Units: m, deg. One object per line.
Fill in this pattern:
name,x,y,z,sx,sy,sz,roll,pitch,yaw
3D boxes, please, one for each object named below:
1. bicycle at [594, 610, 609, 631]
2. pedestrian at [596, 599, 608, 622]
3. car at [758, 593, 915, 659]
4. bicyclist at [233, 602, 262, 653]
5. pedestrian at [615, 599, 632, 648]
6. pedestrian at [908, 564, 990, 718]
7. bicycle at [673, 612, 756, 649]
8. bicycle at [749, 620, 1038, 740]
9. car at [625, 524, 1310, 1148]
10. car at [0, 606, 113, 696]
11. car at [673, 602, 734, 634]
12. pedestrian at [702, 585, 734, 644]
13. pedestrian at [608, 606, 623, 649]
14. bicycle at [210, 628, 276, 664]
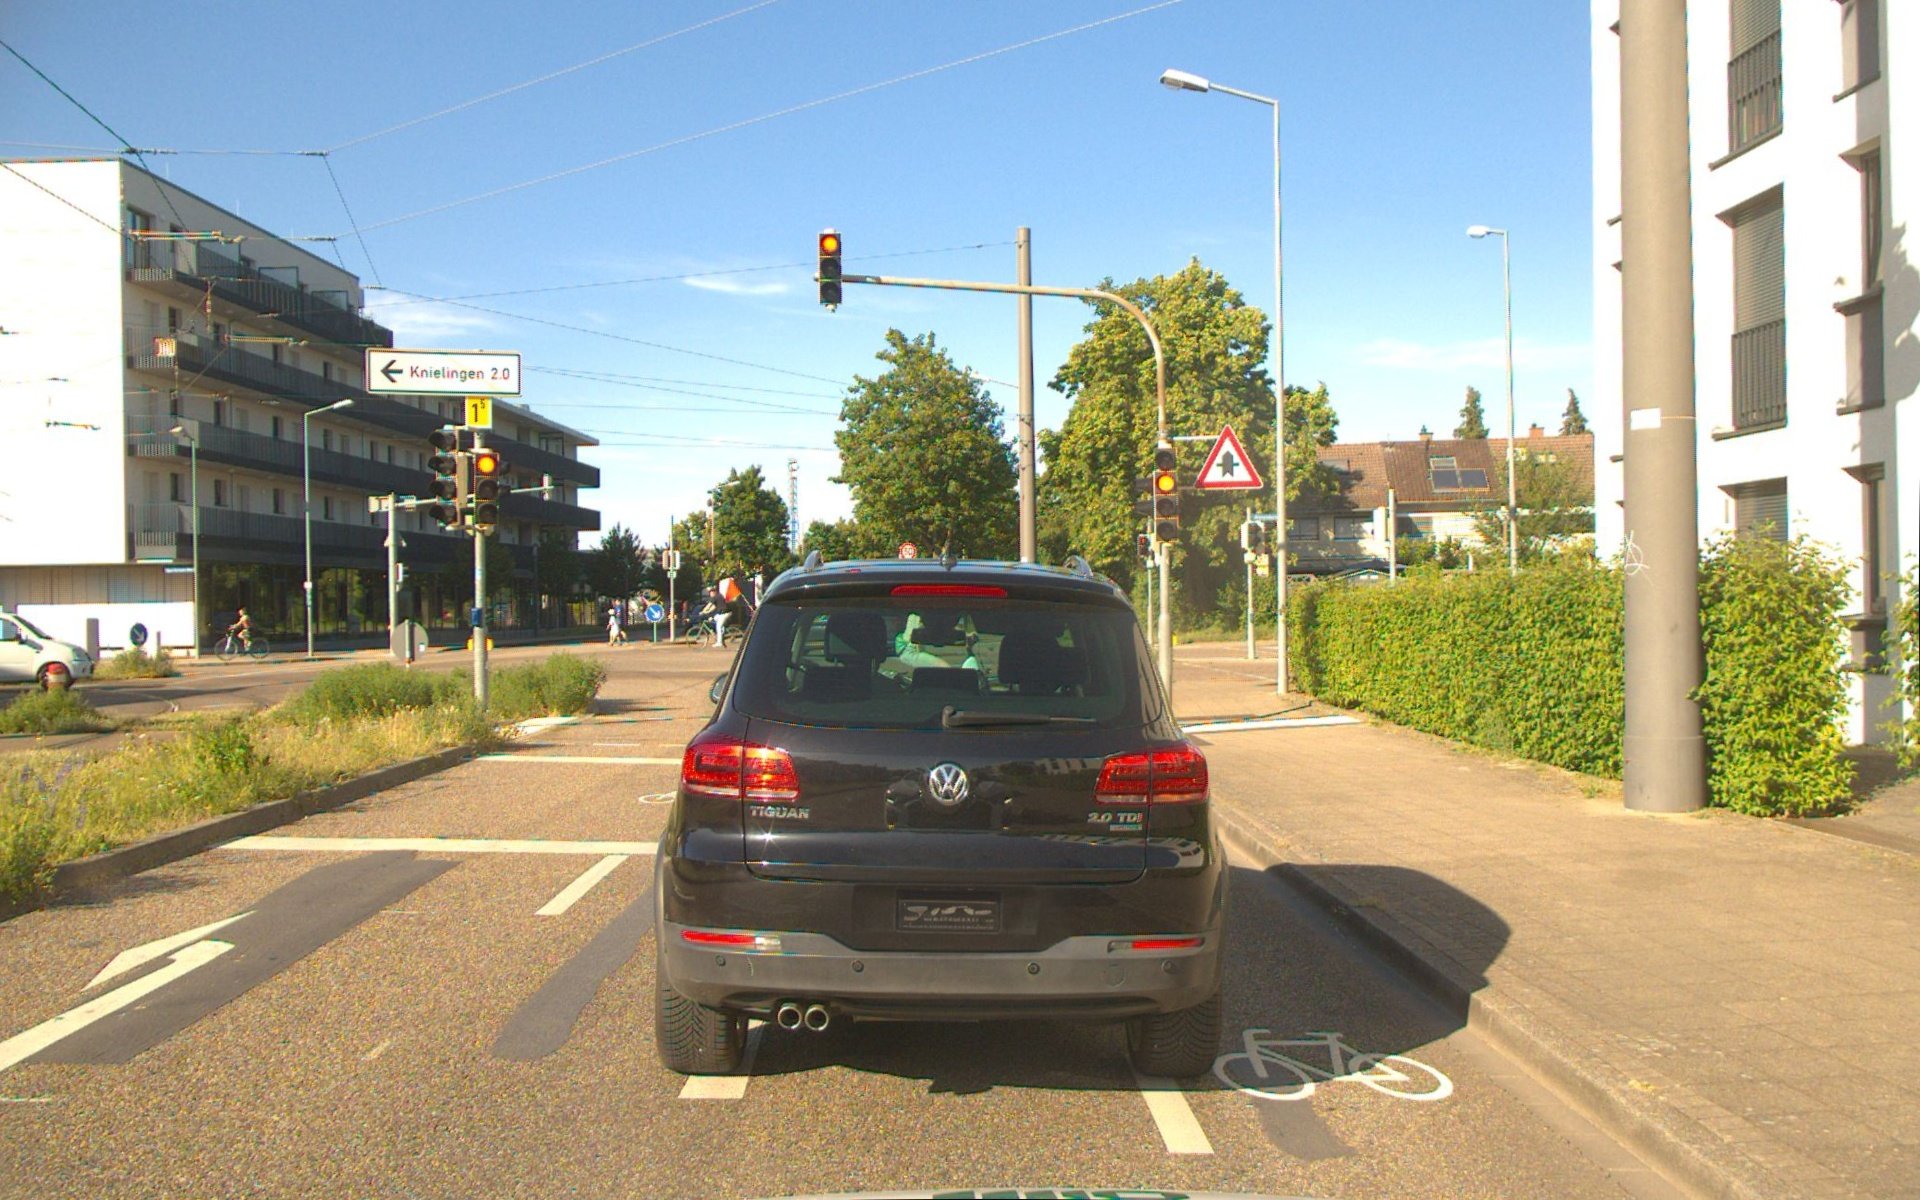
bicycle,-23.880,1.343,110.255,0.617,1.355,1.912,1,0,-1
pedestrian,-23.868,0.706,110.279,0.629,1.535,0.596,1,-1,-1
car,-3.372,0.705,45.598,3.902,1.713,2.002,1,0,9
bicyclist,-23.586,0.908,54.740,0.636,1.642,0.772,1,-1,-44
pedestrian,-12.222,0.850,60.056,0.532,1.774,0.517,1,-1,-6
pedestrian,-0.135,0.436,18.104,0.834,1.622,0.913,-1,0,-2
bicycle,-7.315,0.910,49.325,2.358,1.020,0.641,-1,0,7
bicycle,-0.717,0.857,18.094,3.052,1.194,0.931,-1,0,-2
car,-0.002,0.651,6.486,1.831,1.666,3.999,1,0,-1
car,-19.339,1.014,33.596,3.625,1.750,1.857,-1,0,-23
car,-13.415,0.953,86.762,1.951,1.601,4.343,1,0,9
pedestrian,-7.211,0.429,49.317,0.795,1.721,0.621,-1,0,7
pedestrian,-12.377,0.995,59.466,0.433,1.529,0.517,1,-1,-6
bicycle,-23.681,1.506,54.647,0.809,1.144,1.847,0,-1,45
